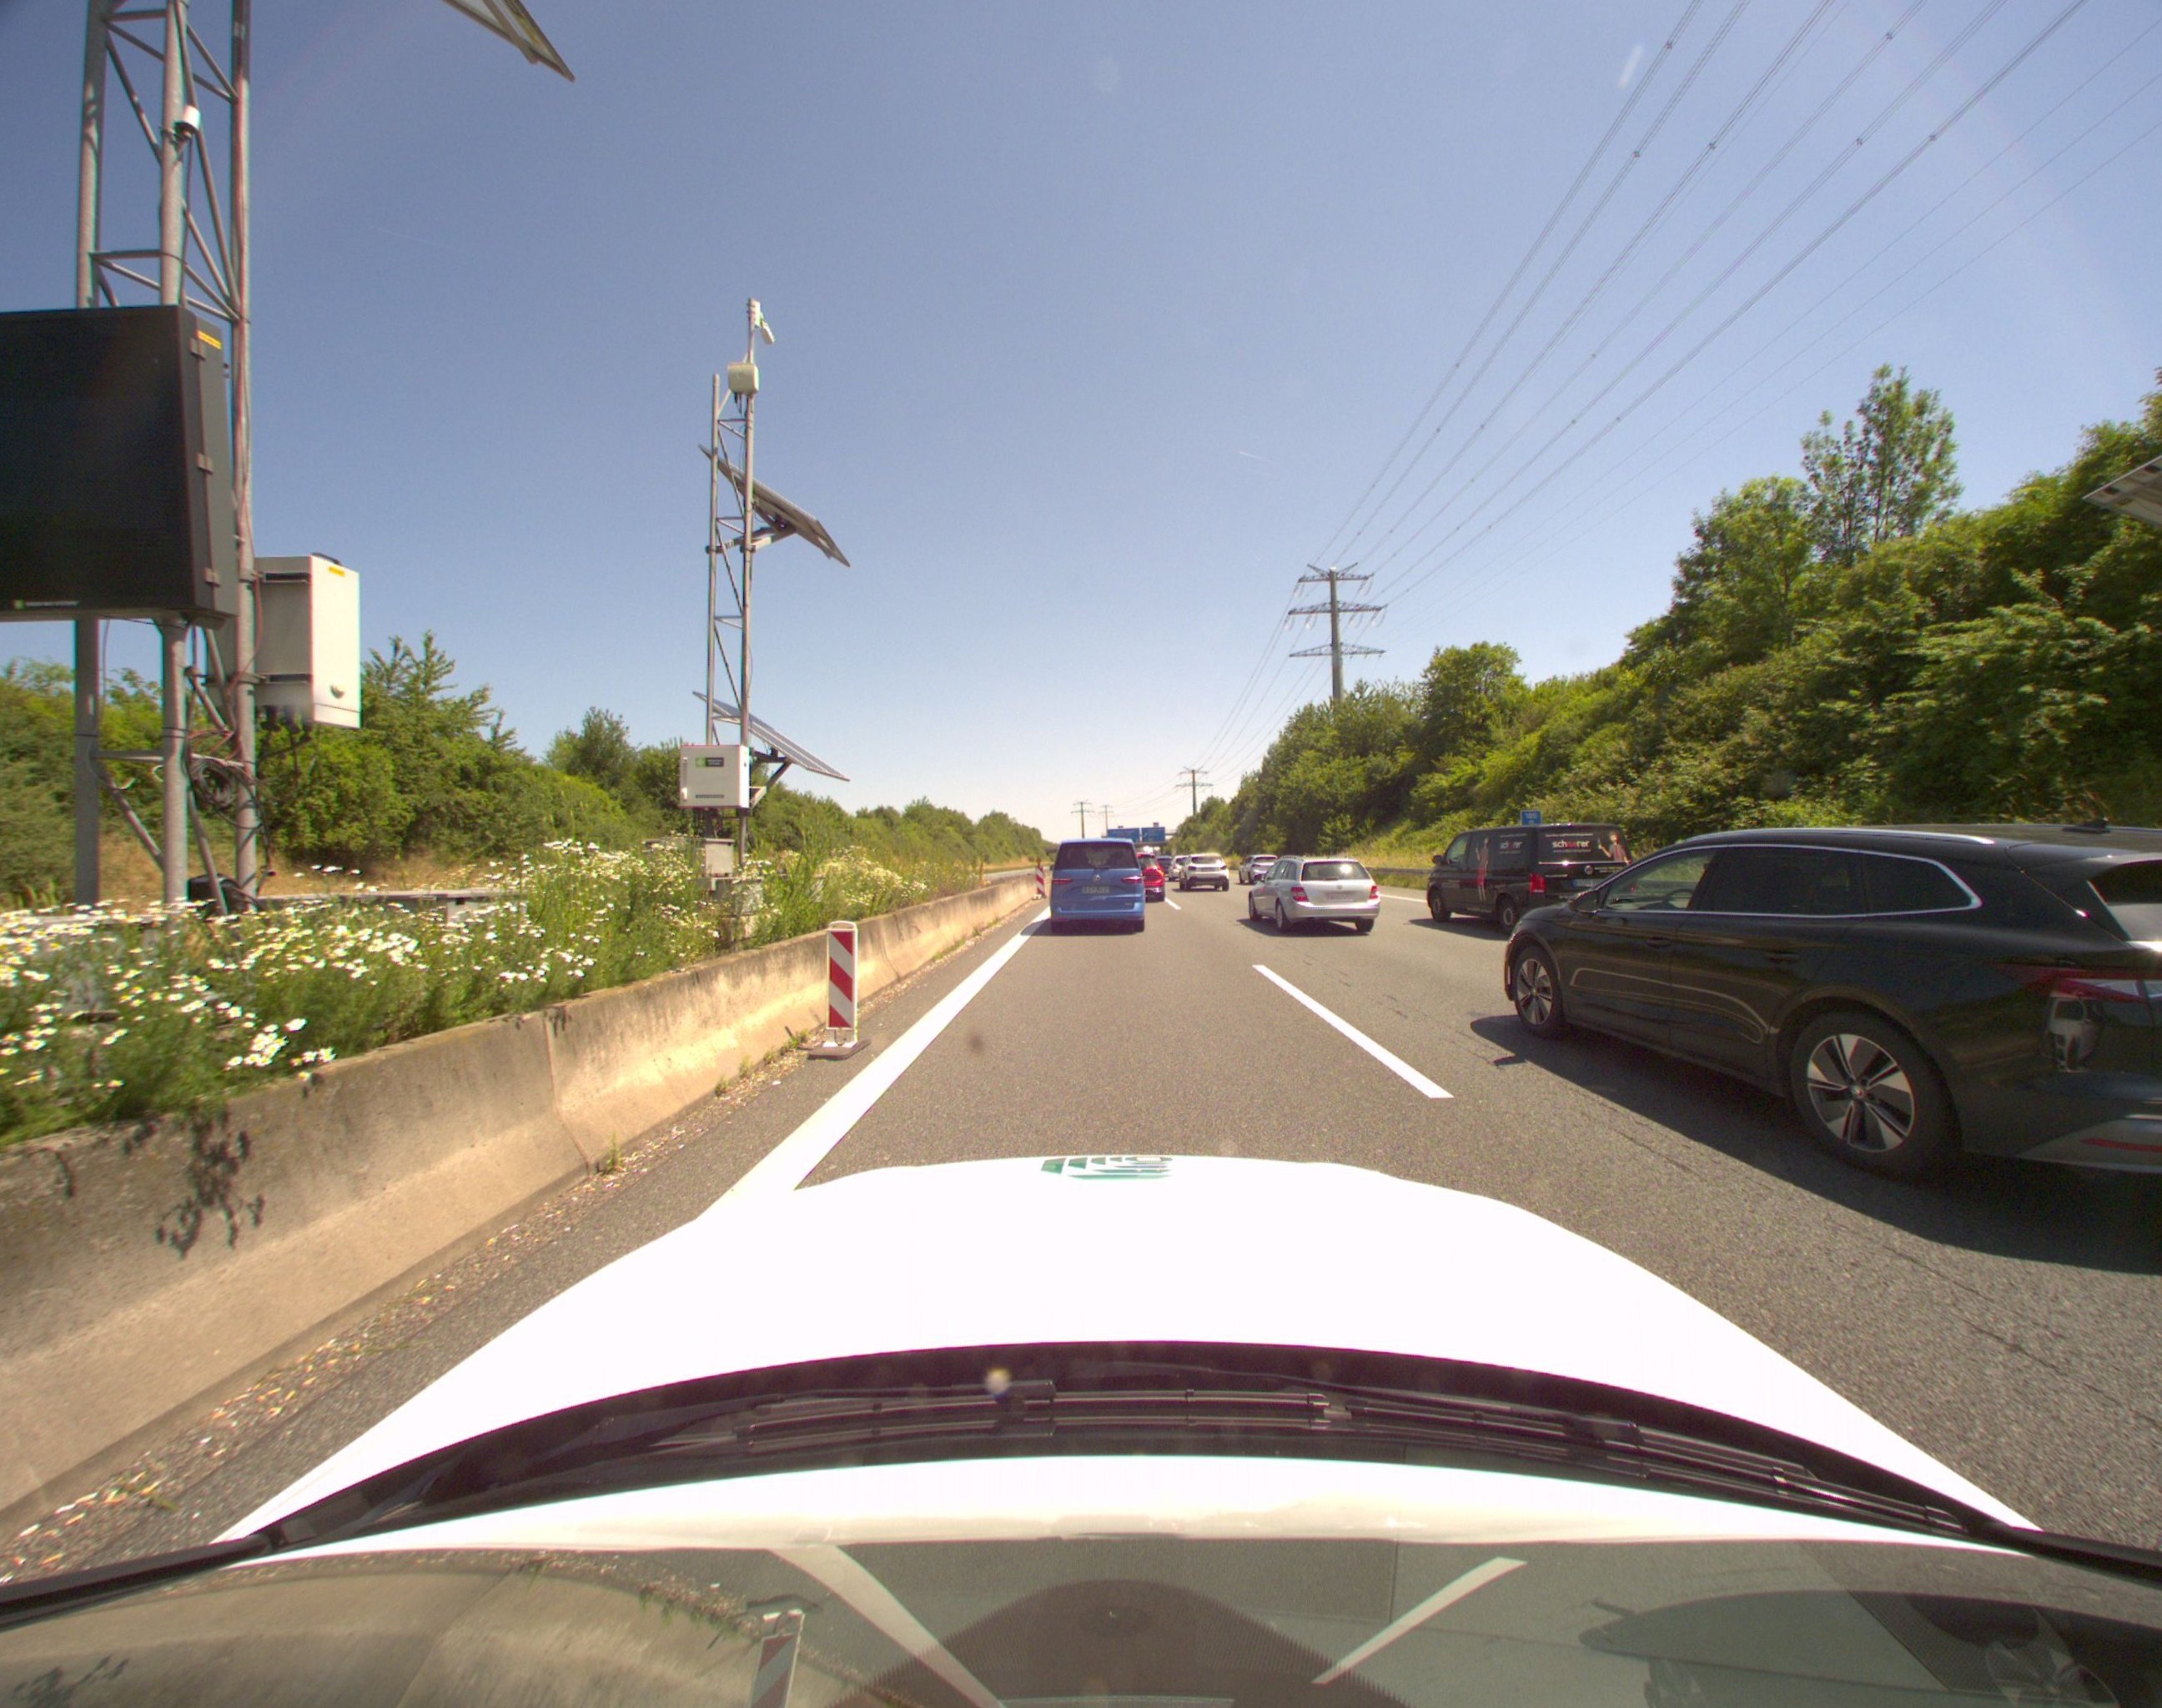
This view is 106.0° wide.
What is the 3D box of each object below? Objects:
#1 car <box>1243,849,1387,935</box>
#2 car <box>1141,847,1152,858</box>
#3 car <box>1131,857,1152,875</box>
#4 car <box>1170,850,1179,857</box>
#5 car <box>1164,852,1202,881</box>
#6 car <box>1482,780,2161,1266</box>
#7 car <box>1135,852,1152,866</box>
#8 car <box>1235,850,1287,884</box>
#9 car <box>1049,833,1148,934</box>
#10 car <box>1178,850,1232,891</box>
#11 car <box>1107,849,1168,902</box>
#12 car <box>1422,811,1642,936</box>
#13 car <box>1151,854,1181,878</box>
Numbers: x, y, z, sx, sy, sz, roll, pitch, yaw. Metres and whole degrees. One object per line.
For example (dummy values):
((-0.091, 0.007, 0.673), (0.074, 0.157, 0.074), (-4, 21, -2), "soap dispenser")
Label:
((4.591, 0.688, 16.646), (1.764, 1.517, 4.360), (0, 0, 1), "car")
((14.648, -0.390, 182.997), (2.368, 2.428, 4.228), (0, -1, 2), "car")
((5.484, 1.056, 74.363), (1.791, 1.594, 4.228), (0, 0, 2), "car")
((25.261, -0.126, 220.128), (1.868, 1.671, 4.360), (0, 0, 1), "car")
((5.929, 0.721, 47.696), (1.791, 1.594, 4.228), (0, 0, 2), "car")
((4.375, 0.587, 5.003), (1.695, 1.655, 4.430), (0, 0, 1), "car")
((7.174, 0.577, 93.962), (1.791, 1.594, 4.228), (0, 0, 2), "car")
((8.924, 0.623, 40.640), (1.791, 1.594, 4.228), (0, 0, 2), "car")
((0.375, 0.574, 17.639), (1.868, 1.912, 4.360), (0, 0, 1), "car")
((5.199, 0.672, 34.603), (1.791, 1.594, 4.228), (0, 0, 2), "car")
((1.857, 0.699, 27.959), (1.868, 1.671, 4.360), (0, 0, 1), "car")
((8.220, 0.336, 15.347), (1.792, 2.014, 4.226), (0, -1, 0), "car")
((6.029, 0.832, 58.054), (1.791, 1.594, 4.228), (0, 0, 2), "car")
